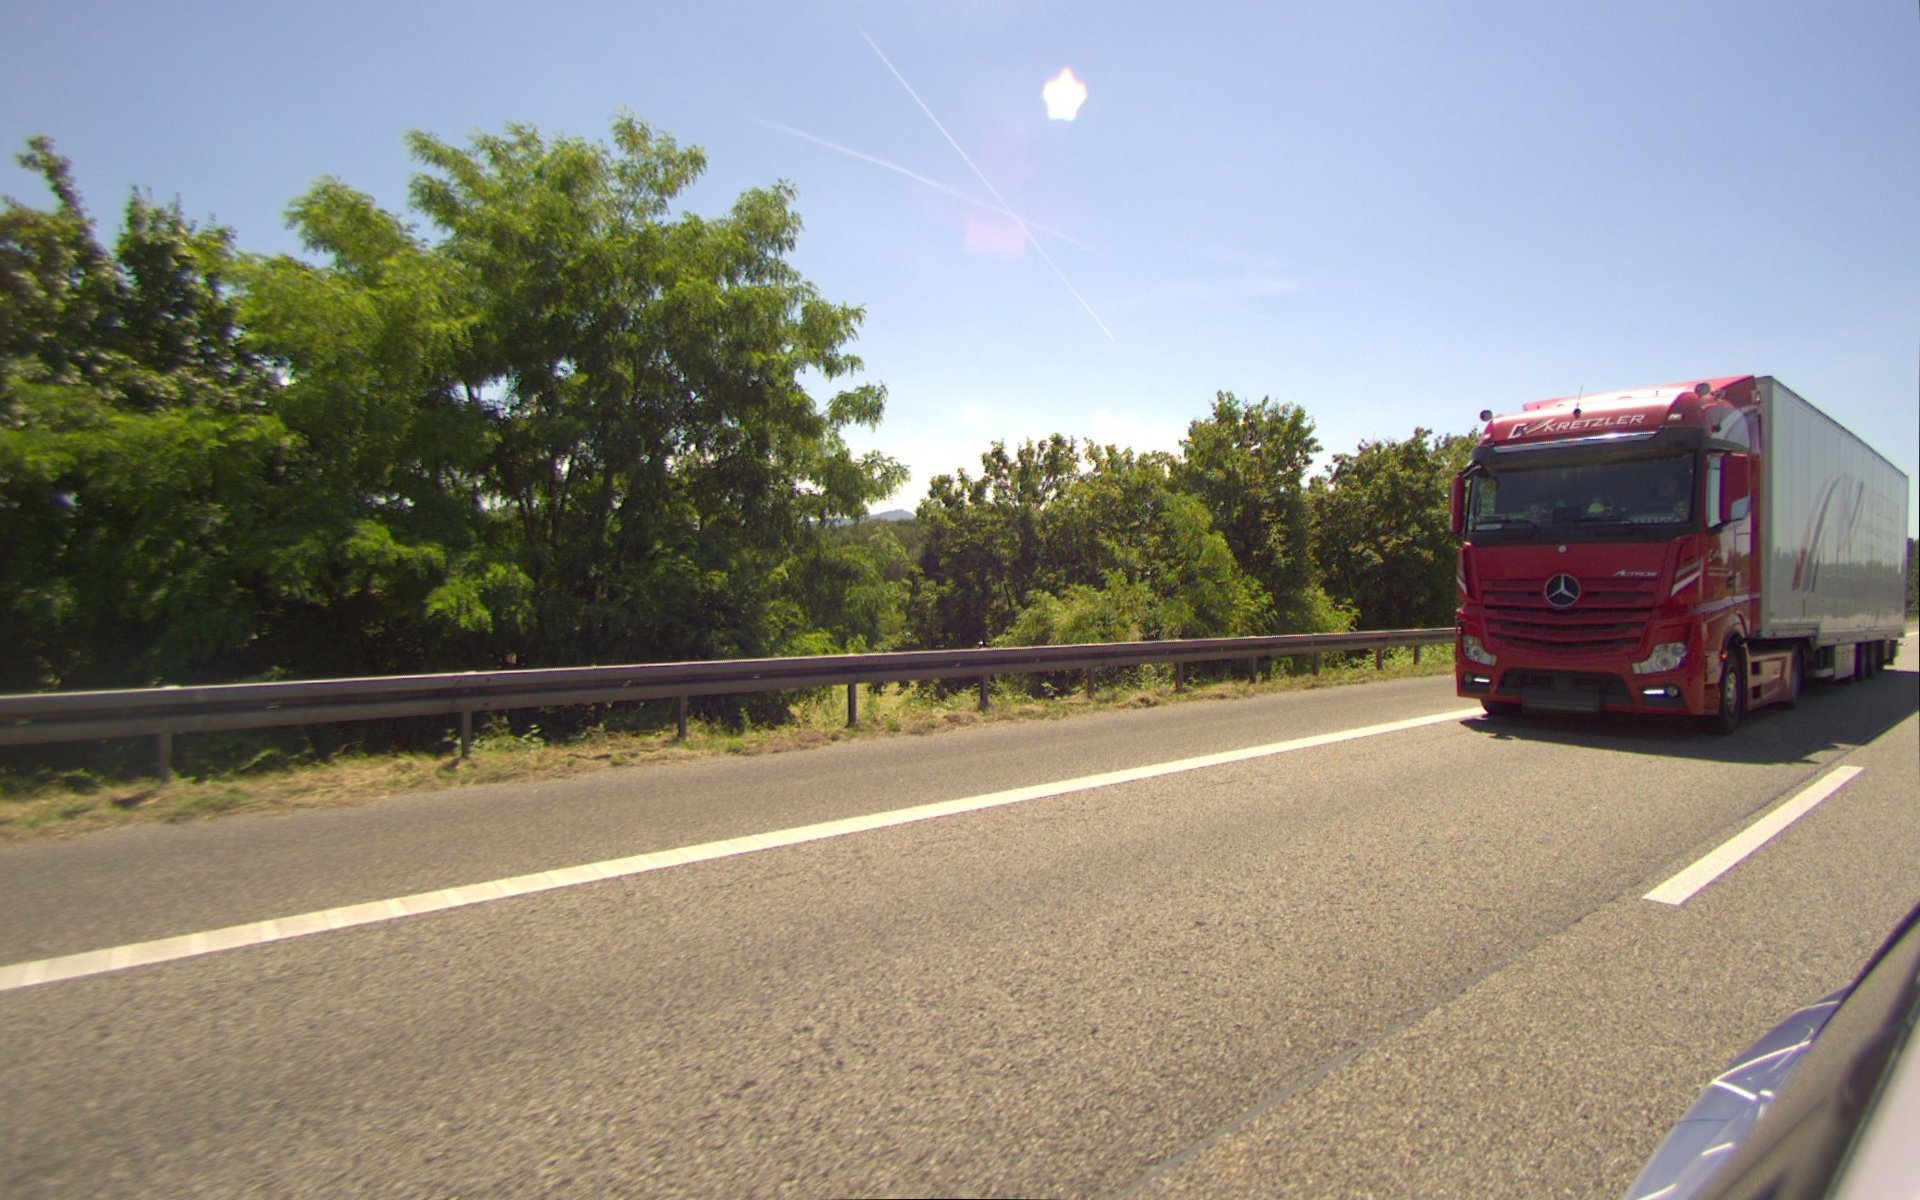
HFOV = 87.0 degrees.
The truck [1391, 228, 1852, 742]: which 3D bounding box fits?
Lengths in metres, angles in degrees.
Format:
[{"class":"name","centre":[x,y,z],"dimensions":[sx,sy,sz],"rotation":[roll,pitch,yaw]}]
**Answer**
[{"class":"truck","centre":[8.871,-1.114,13.226],"dimensions":[6.848,4.951,3.240],"rotation":[0,0,-40]}]

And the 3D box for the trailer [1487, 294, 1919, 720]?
[{"class":"trailer","centre":[13.653,-1.062,17.373],"dimensions":[13.781,4.899,3.275],"rotation":[0,0,-41]}]
